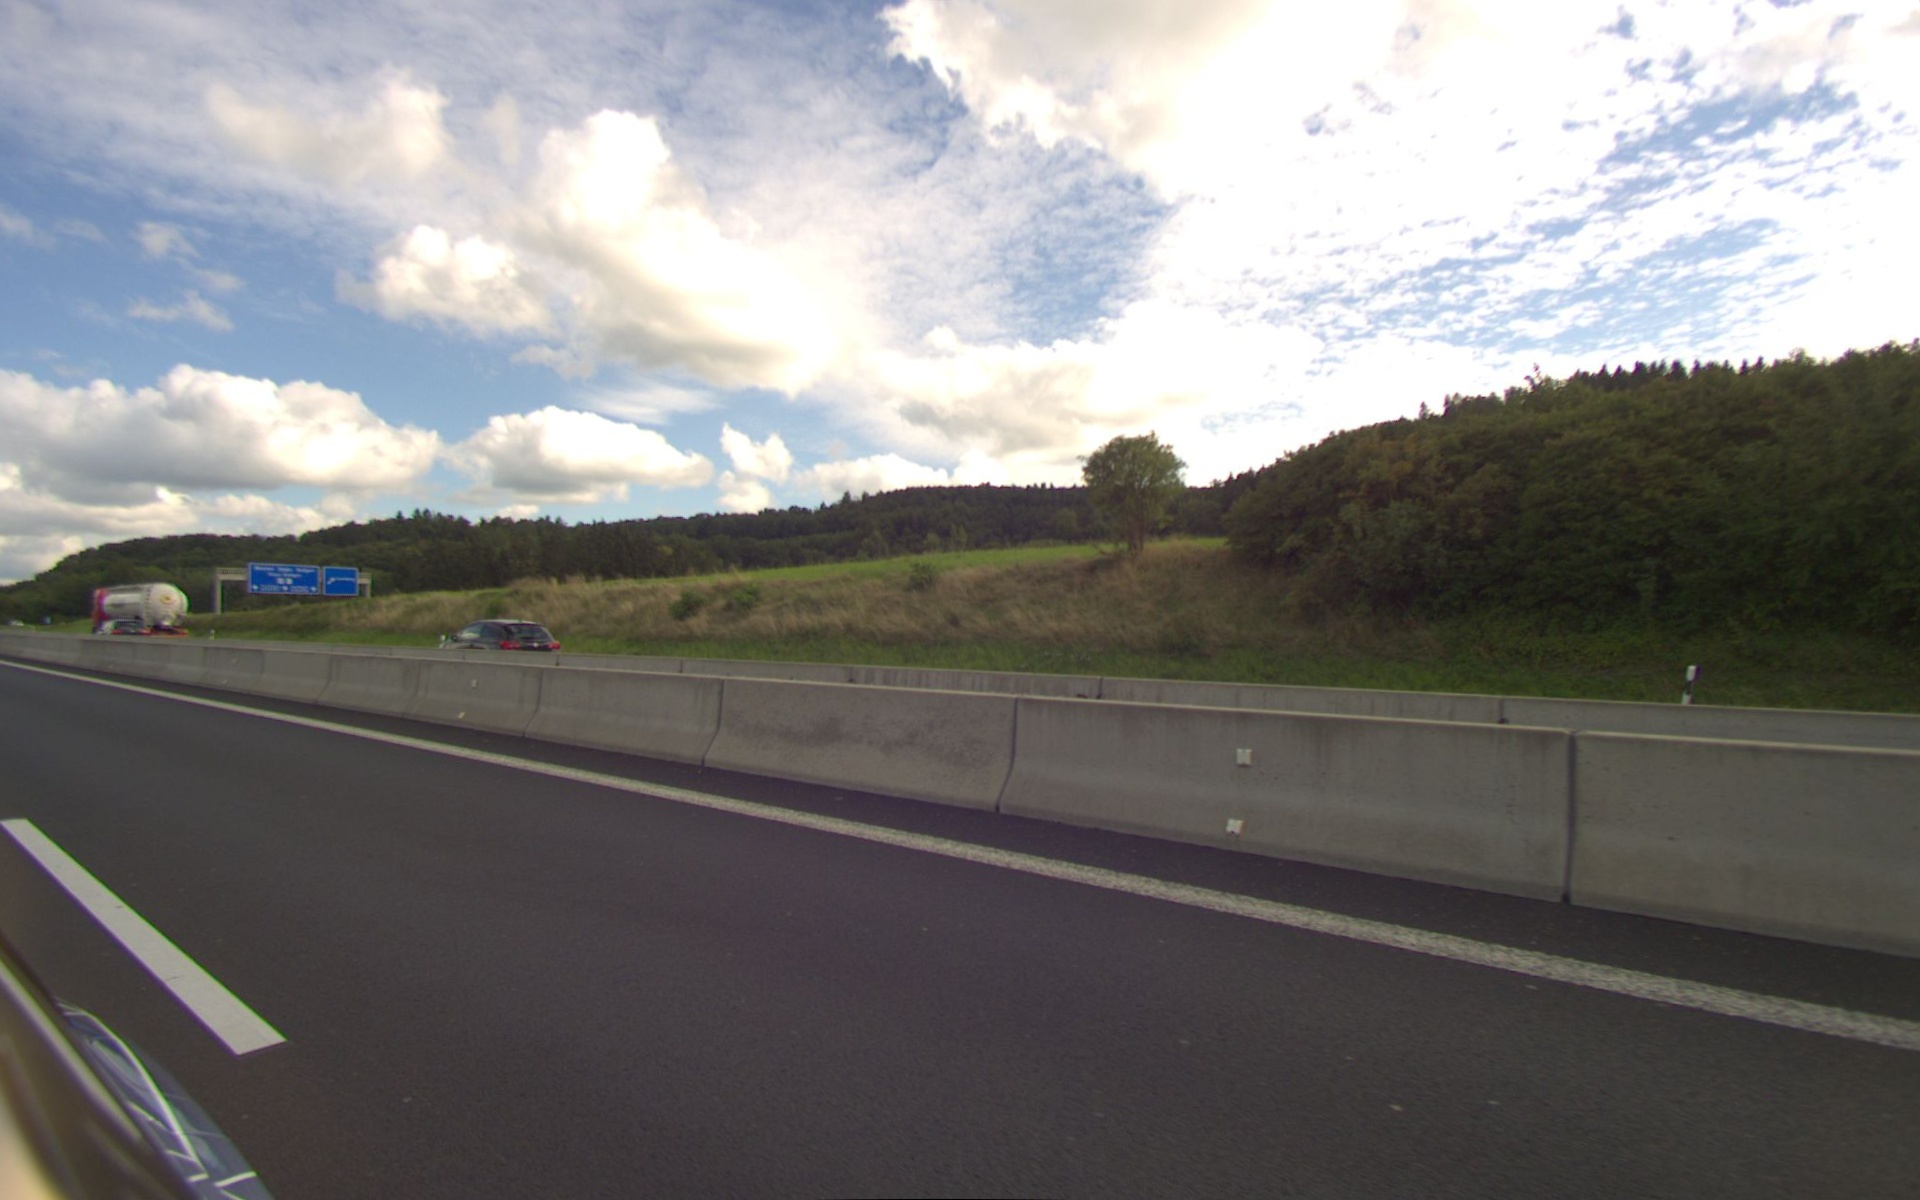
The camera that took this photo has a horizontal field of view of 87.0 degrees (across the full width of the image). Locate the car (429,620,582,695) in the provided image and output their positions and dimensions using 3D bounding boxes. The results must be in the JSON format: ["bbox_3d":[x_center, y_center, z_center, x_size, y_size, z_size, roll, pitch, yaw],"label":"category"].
[{"bbox_3d":[-11.460,1.379,25.425,3.998,1.730,1.973,-1,-3,41],"label":"car"}]

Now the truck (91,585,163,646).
[{"bbox_3d":[-57.332,1.097,69.621,6.899,3.954,2.709,-1,-3,42],"label":"truck"}]

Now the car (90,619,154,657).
[{"bbox_3d":[-42.143,1.879,50.886,4.395,1.846,1.788,-1,-3,42],"label":"car"}]

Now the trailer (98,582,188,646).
[{"bbox_3d":[-53.695,0.993,66.369,11.157,3.916,2.684,-1,-3,42],"label":"trailer"}]
